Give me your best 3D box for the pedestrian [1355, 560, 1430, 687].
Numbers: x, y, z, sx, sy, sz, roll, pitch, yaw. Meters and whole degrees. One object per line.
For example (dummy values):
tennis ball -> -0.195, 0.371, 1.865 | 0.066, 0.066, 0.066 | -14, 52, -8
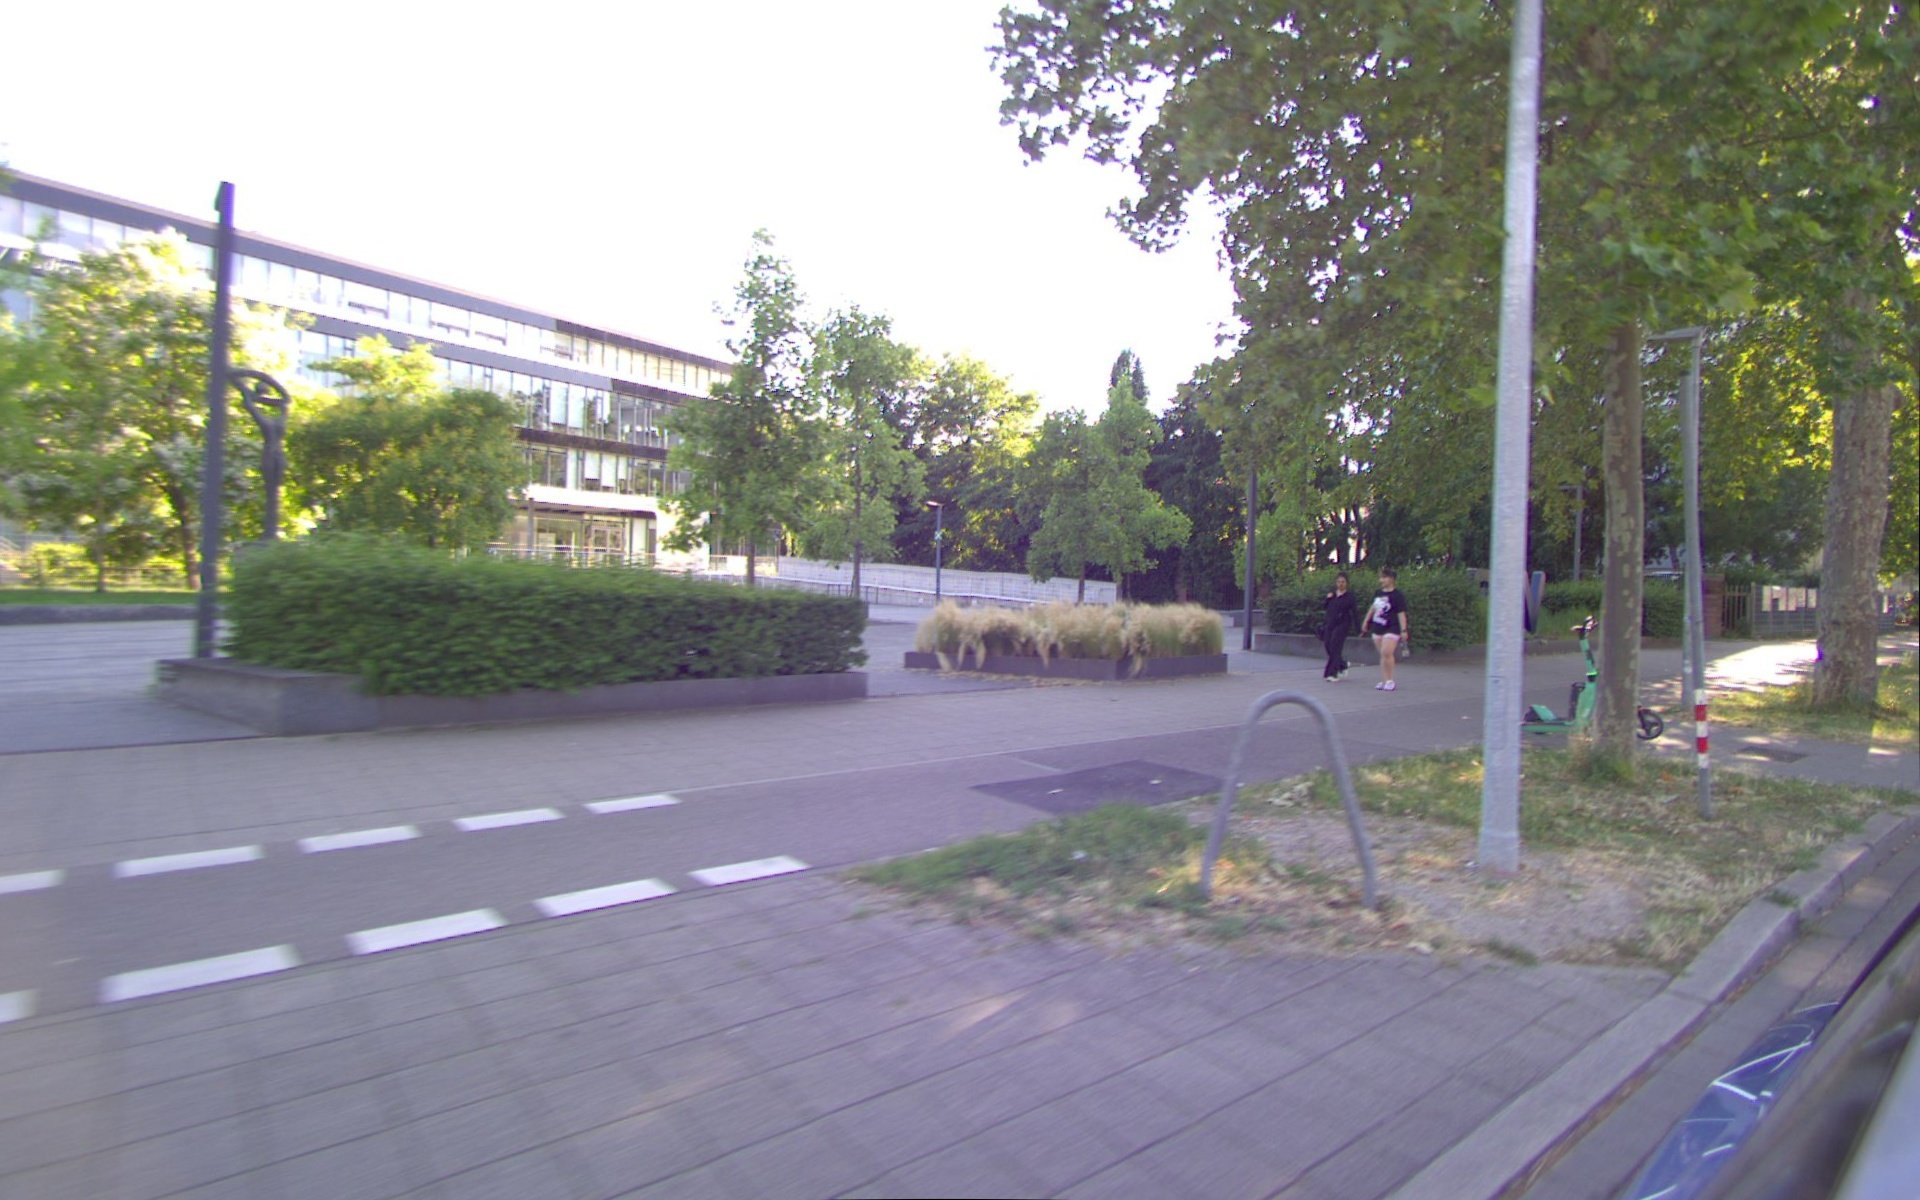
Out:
pedestrian -> 5.955, 0.306, 13.943 | 0.726, 1.677, 0.629 | 0, 2, -39

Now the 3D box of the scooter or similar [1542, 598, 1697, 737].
scooter or similar -> 6.637, 0.640, 10.205 | 0.825, 1.259, 1.055 | 0, 2, -37

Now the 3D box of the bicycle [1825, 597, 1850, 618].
bicycle -> 50.660, 0.413, 58.433 | 1.788, 1.192, 0.790 | 0, 0, -40

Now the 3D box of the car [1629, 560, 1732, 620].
car -> 32.314, -0.415, 45.316 | 6.229, 2.531, 1.999 | 0, 0, -37

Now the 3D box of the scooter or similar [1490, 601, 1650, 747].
scooter or similar -> 5.870, 0.664, 9.762 | 0.825, 1.259, 1.055 | 0, 2, -37

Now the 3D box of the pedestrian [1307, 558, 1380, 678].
pedestrian -> 5.577, 0.240, 14.717 | 0.769, 1.677, 0.651 | 0, 2, -39
